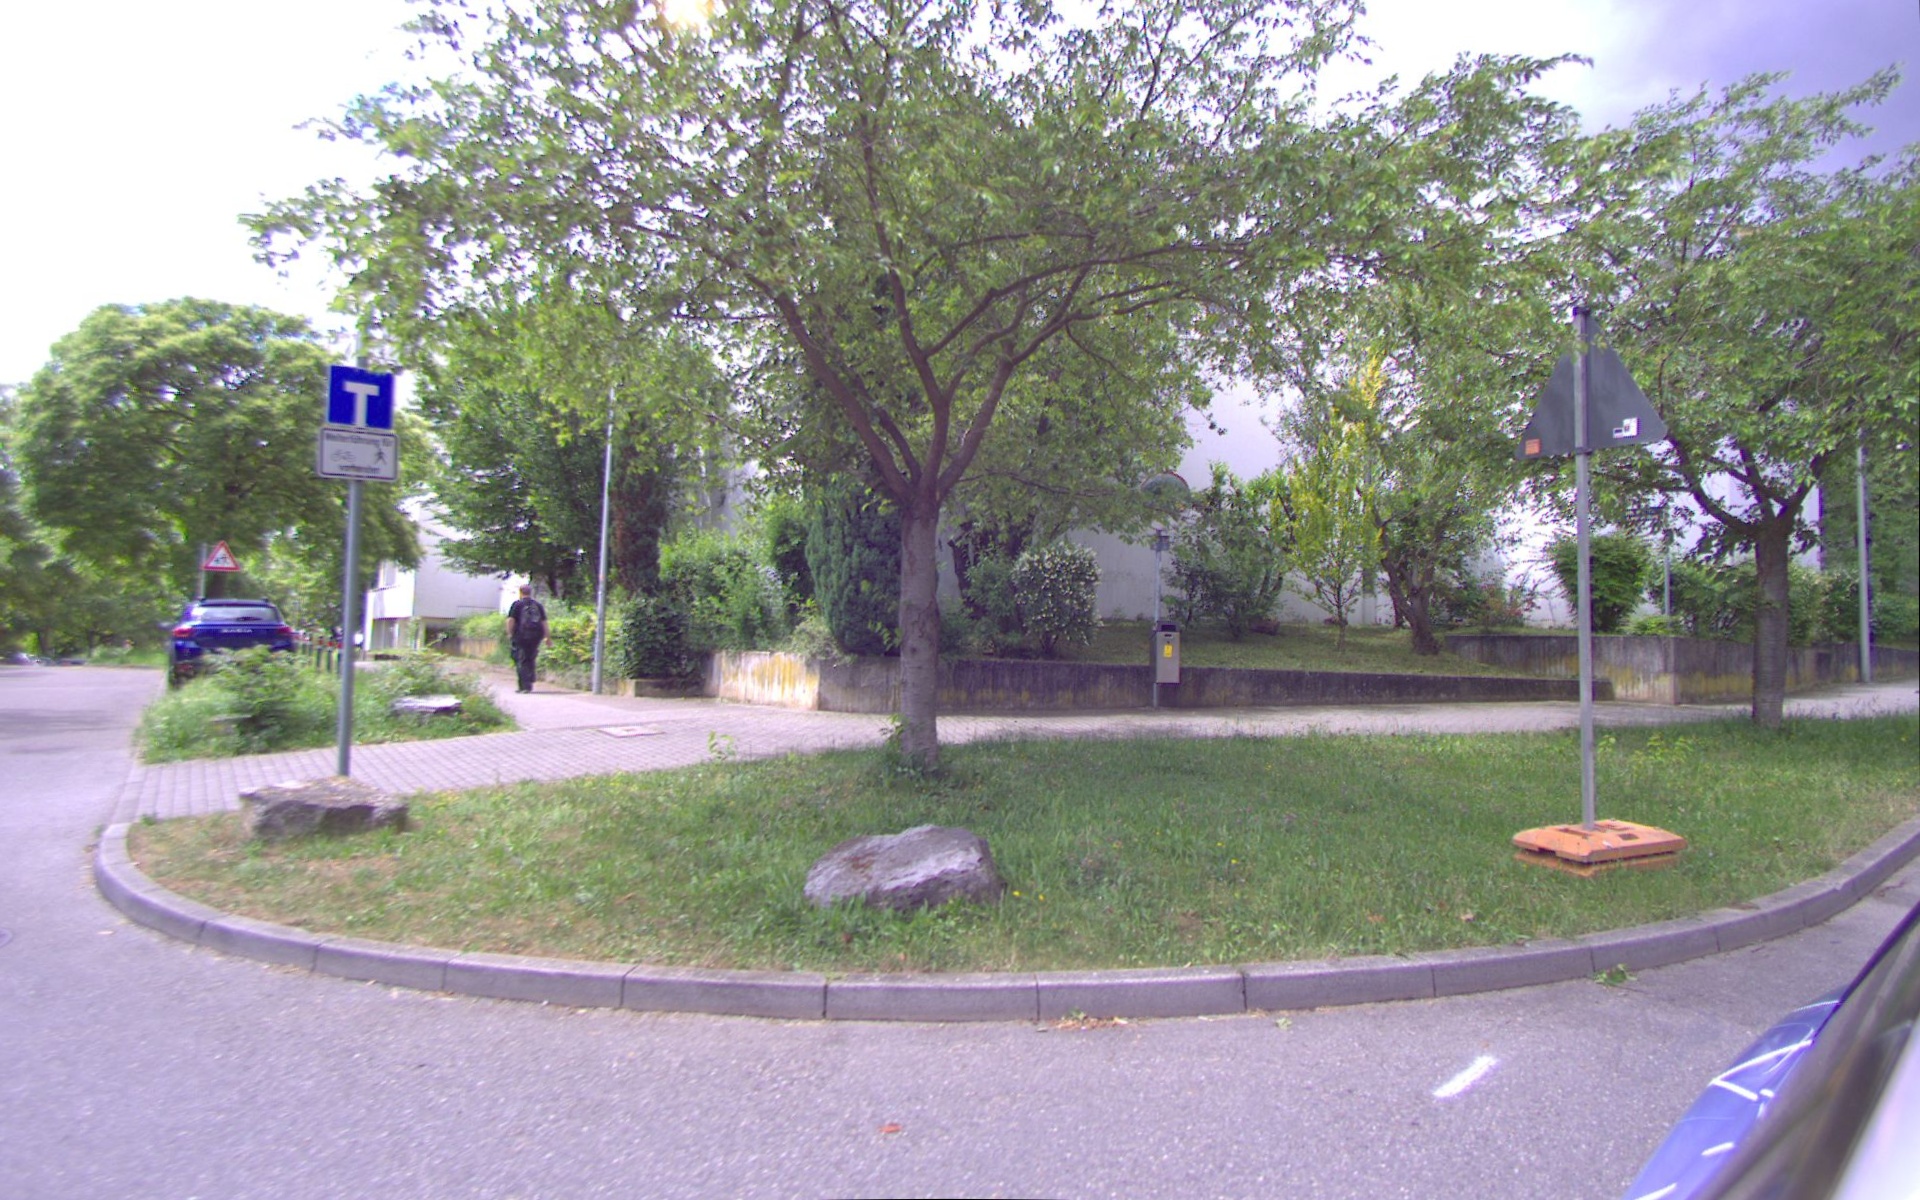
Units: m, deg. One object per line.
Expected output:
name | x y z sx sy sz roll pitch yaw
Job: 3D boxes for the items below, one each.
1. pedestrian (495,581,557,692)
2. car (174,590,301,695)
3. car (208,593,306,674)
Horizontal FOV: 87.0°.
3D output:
pedestrian | -7.127 0.572 16.624 0.771 1.759 0.834 0 -1 -36
car | -13.032 0.682 18.264 1.696 1.683 3.998 0 0 -36
car | -16.109 0.699 23.149 1.696 1.683 3.998 0 0 -36
